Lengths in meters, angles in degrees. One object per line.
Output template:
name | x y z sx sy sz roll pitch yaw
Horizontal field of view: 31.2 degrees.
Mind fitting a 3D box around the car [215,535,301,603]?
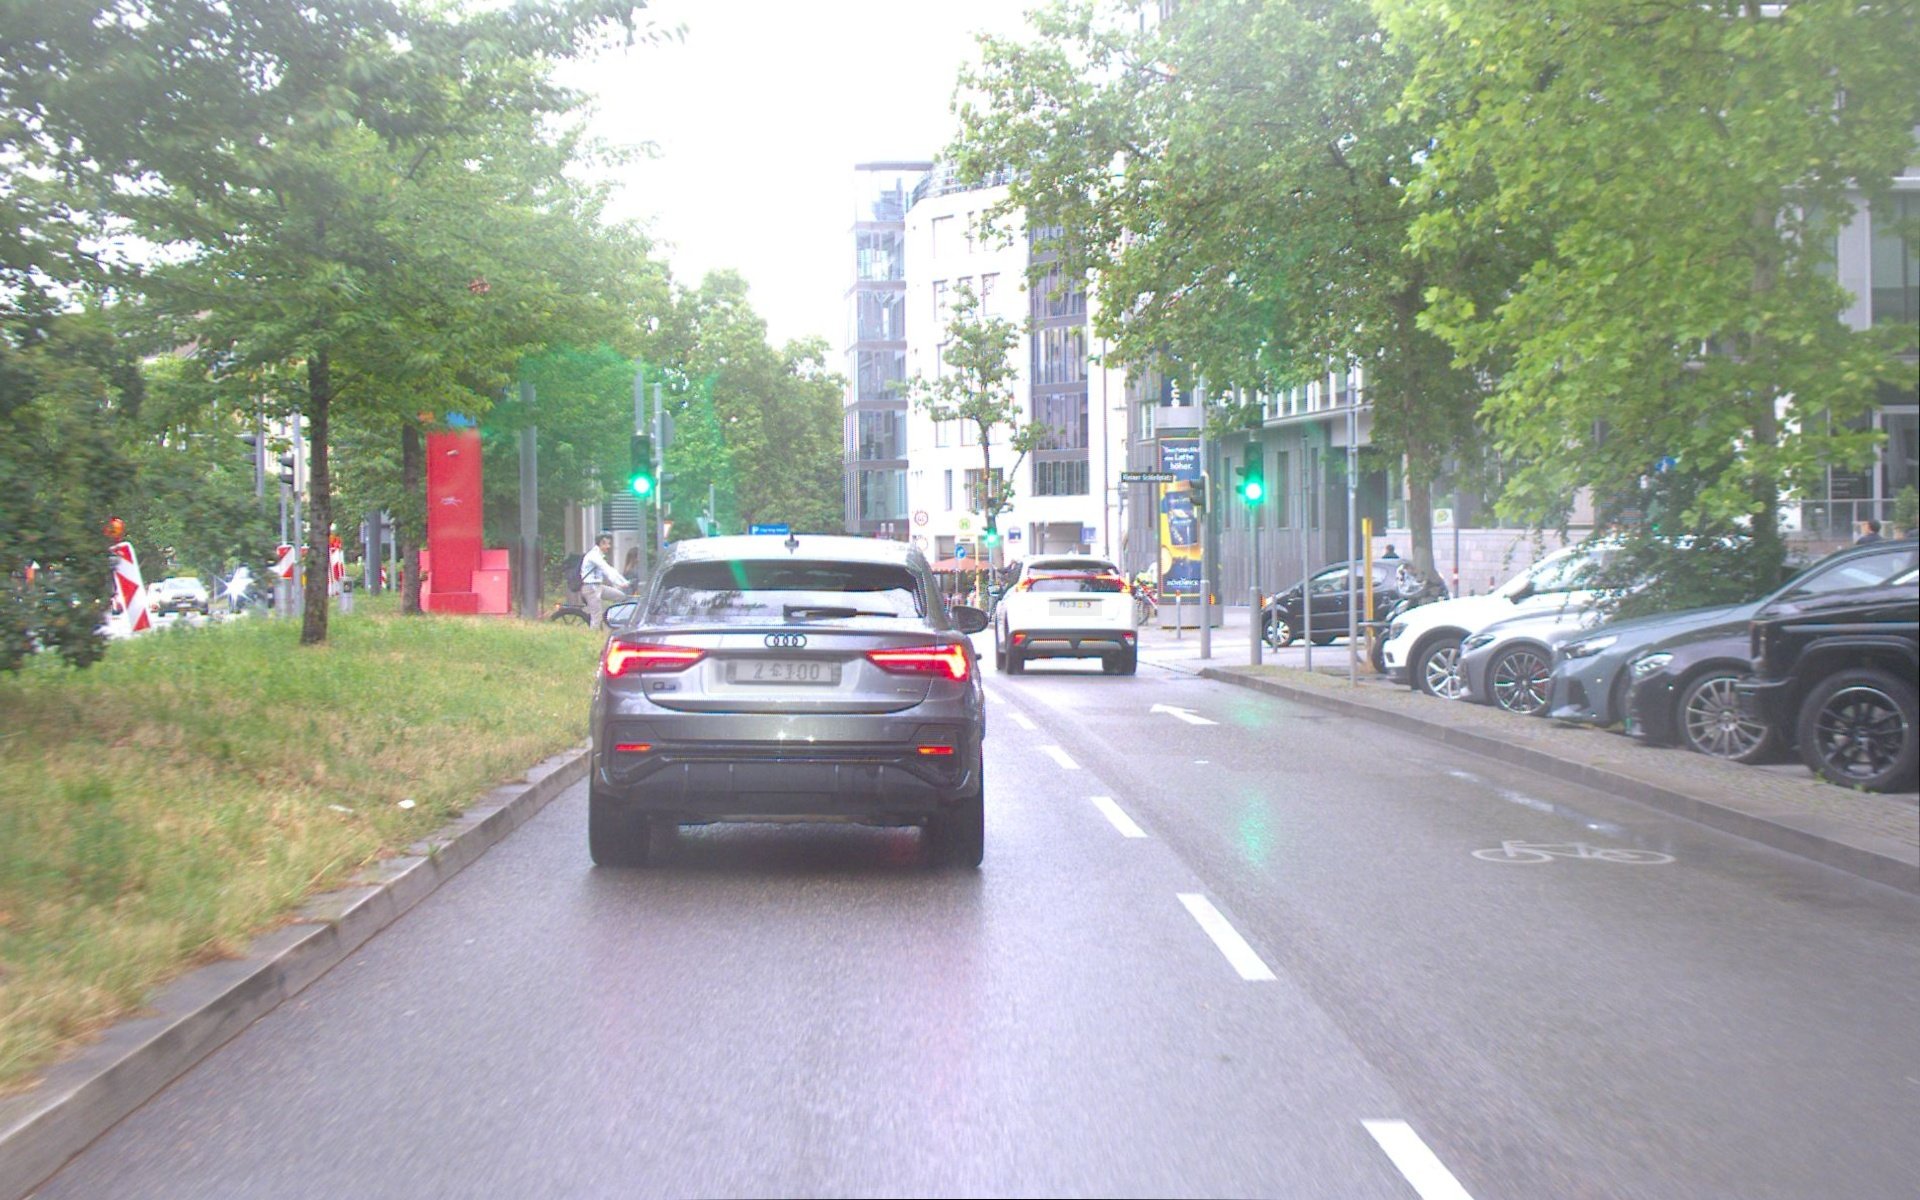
car | -19.825 -0.889 97.211 1.993 1.820 4.001 -2 1 -7

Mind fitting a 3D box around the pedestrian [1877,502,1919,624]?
pedestrian | 14.245 -0.559 51.340 0.665 1.777 0.919 -4 -1 -5

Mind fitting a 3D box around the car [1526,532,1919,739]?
car | 6.888 0.249 26.606 4.778 1.528 1.868 -1 1 15

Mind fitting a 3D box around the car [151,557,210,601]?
car | -29.308 -0.798 129.336 1.732 1.553 4.001 -2 1 -7

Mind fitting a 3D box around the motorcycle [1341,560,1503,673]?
motorcycle | 5.945 0.204 44.211 2.029 1.410 0.725 1 0 9

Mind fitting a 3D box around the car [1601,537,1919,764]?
car | 6.880 0.313 23.564 4.560 1.501 1.867 -1 1 25

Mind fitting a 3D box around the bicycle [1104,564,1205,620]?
bicycle | 4.650 -0.191 82.240 2.337 1.308 0.710 0 1 -7

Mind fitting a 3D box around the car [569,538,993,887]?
car | -0.804 0.459 17.112 1.849 1.518 4.039 0 1 -1

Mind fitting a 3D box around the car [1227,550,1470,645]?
car | 6.626 -0.055 58.778 3.861 1.562 1.663 1 0 42

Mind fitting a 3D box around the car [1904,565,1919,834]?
car | 7.366 0.484 17.499 4.630 1.390 1.844 -1 0 29

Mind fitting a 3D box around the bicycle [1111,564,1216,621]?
bicycle | 4.750 -0.178 80.313 2.337 1.308 0.710 0 1 -7

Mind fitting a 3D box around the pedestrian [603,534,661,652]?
pedestrian | -5.018 -0.103 52.567 0.662 1.787 0.750 1 0 12

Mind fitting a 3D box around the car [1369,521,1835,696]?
car | 6.435 0.084 34.500 4.223 1.663 1.836 -1 1 27

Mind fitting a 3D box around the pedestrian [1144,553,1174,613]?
pedestrian | 6.722 -0.572 116.413 0.855 2.007 0.976 1 0 -5

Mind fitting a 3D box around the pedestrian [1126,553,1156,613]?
pedestrian | 6.193 -0.580 117.636 0.855 2.007 0.976 1 0 -5

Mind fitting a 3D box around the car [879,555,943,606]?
car | -1.473 -0.603 104.141 1.849 1.518 4.039 0 1 0

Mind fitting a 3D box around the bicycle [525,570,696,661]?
bicycle | -4.866 0.219 47.958 2.254 1.158 0.751 3 0 -1

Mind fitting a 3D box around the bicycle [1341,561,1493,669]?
bicycle | 6.150 0.204 46.262 1.983 1.410 0.725 1 0 9

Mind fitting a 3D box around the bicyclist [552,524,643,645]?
bicyclist | -5.053 -0.211 47.961 1.104 1.616 0.751 3 0 -1

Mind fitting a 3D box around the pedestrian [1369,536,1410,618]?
pedestrian | 11.125 -0.591 88.976 0.936 2.108 1.075 1 0 12

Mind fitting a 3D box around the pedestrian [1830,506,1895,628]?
pedestrian | 13.544 -0.485 51.620 0.640 1.777 0.771 -3 -1 -2

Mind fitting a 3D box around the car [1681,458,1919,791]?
car | 7.057 0.115 20.778 4.944 1.972 1.927 -1 1 26

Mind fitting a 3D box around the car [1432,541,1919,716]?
car | 6.669 0.247 31.294 4.300 1.483 1.840 -1 1 29

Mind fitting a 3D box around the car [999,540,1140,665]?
car | 1.500 0.016 48.240 1.849 1.663 4.039 0 1 0

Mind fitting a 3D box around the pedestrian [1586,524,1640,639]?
pedestrian | 12.181 -0.337 64.099 0.936 2.108 1.075 1 0 12
